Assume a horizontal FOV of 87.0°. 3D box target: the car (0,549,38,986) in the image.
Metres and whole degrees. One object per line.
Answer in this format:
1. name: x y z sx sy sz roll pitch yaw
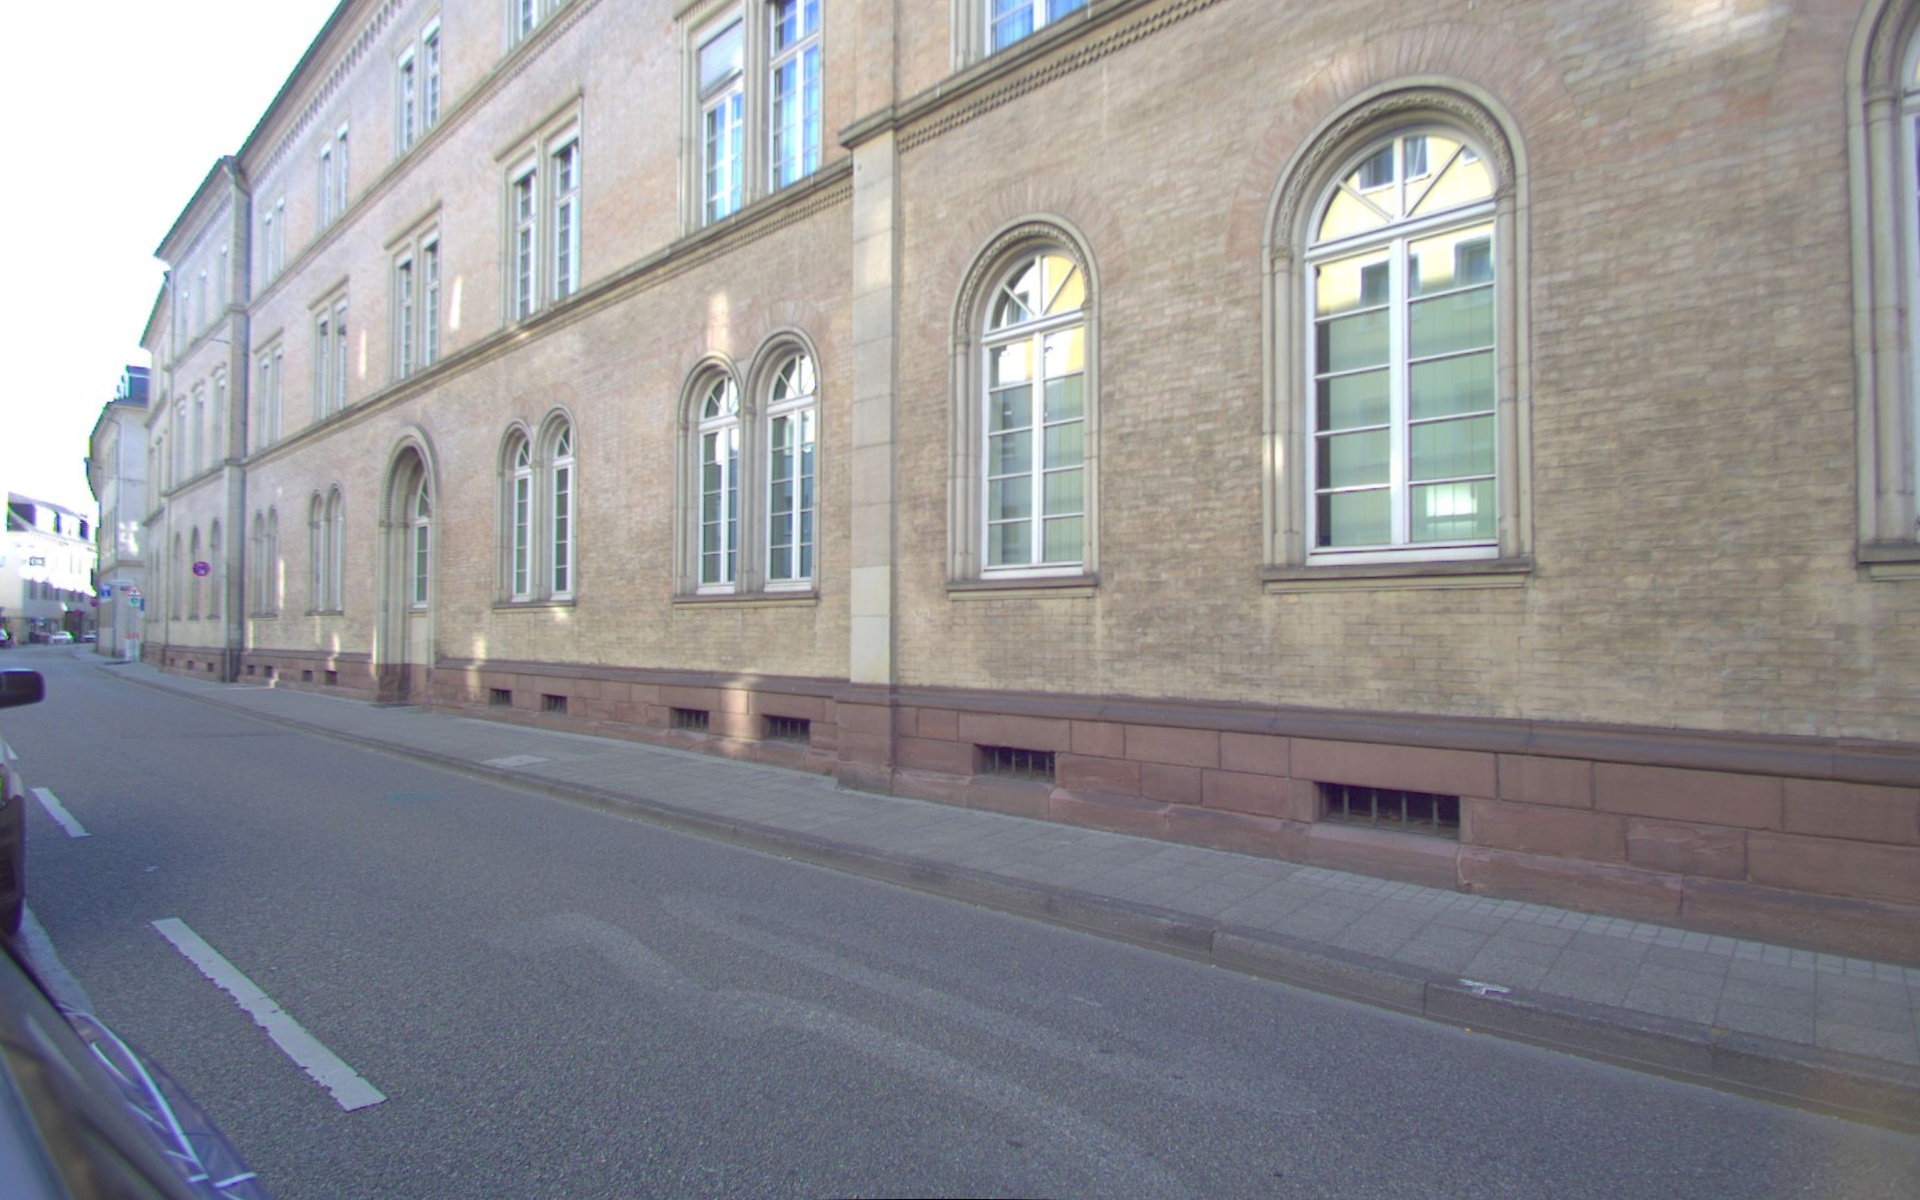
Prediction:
1. car: -6.426 0.693 5.310 5.329 1.784 1.747 -1 -2 41

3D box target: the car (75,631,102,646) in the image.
1. car: -109.234 4.836 126.817 1.966 1.665 4.240 -1 0 -33

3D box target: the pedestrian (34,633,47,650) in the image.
1. pedestrian: -91.268 4.138 100.447 0.694 1.648 0.834 5 -4 -36

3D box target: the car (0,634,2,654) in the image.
1. car: -86.615 3.949 89.942 1.969 1.665 4.235 -1 0 -41

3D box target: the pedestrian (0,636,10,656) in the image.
1. pedestrian: -80.955 3.858 85.625 0.694 1.648 0.834 5 -4 -38

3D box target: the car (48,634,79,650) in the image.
1. car: -102.859 4.752 116.165 1.966 1.665 4.240 -1 0 -33
